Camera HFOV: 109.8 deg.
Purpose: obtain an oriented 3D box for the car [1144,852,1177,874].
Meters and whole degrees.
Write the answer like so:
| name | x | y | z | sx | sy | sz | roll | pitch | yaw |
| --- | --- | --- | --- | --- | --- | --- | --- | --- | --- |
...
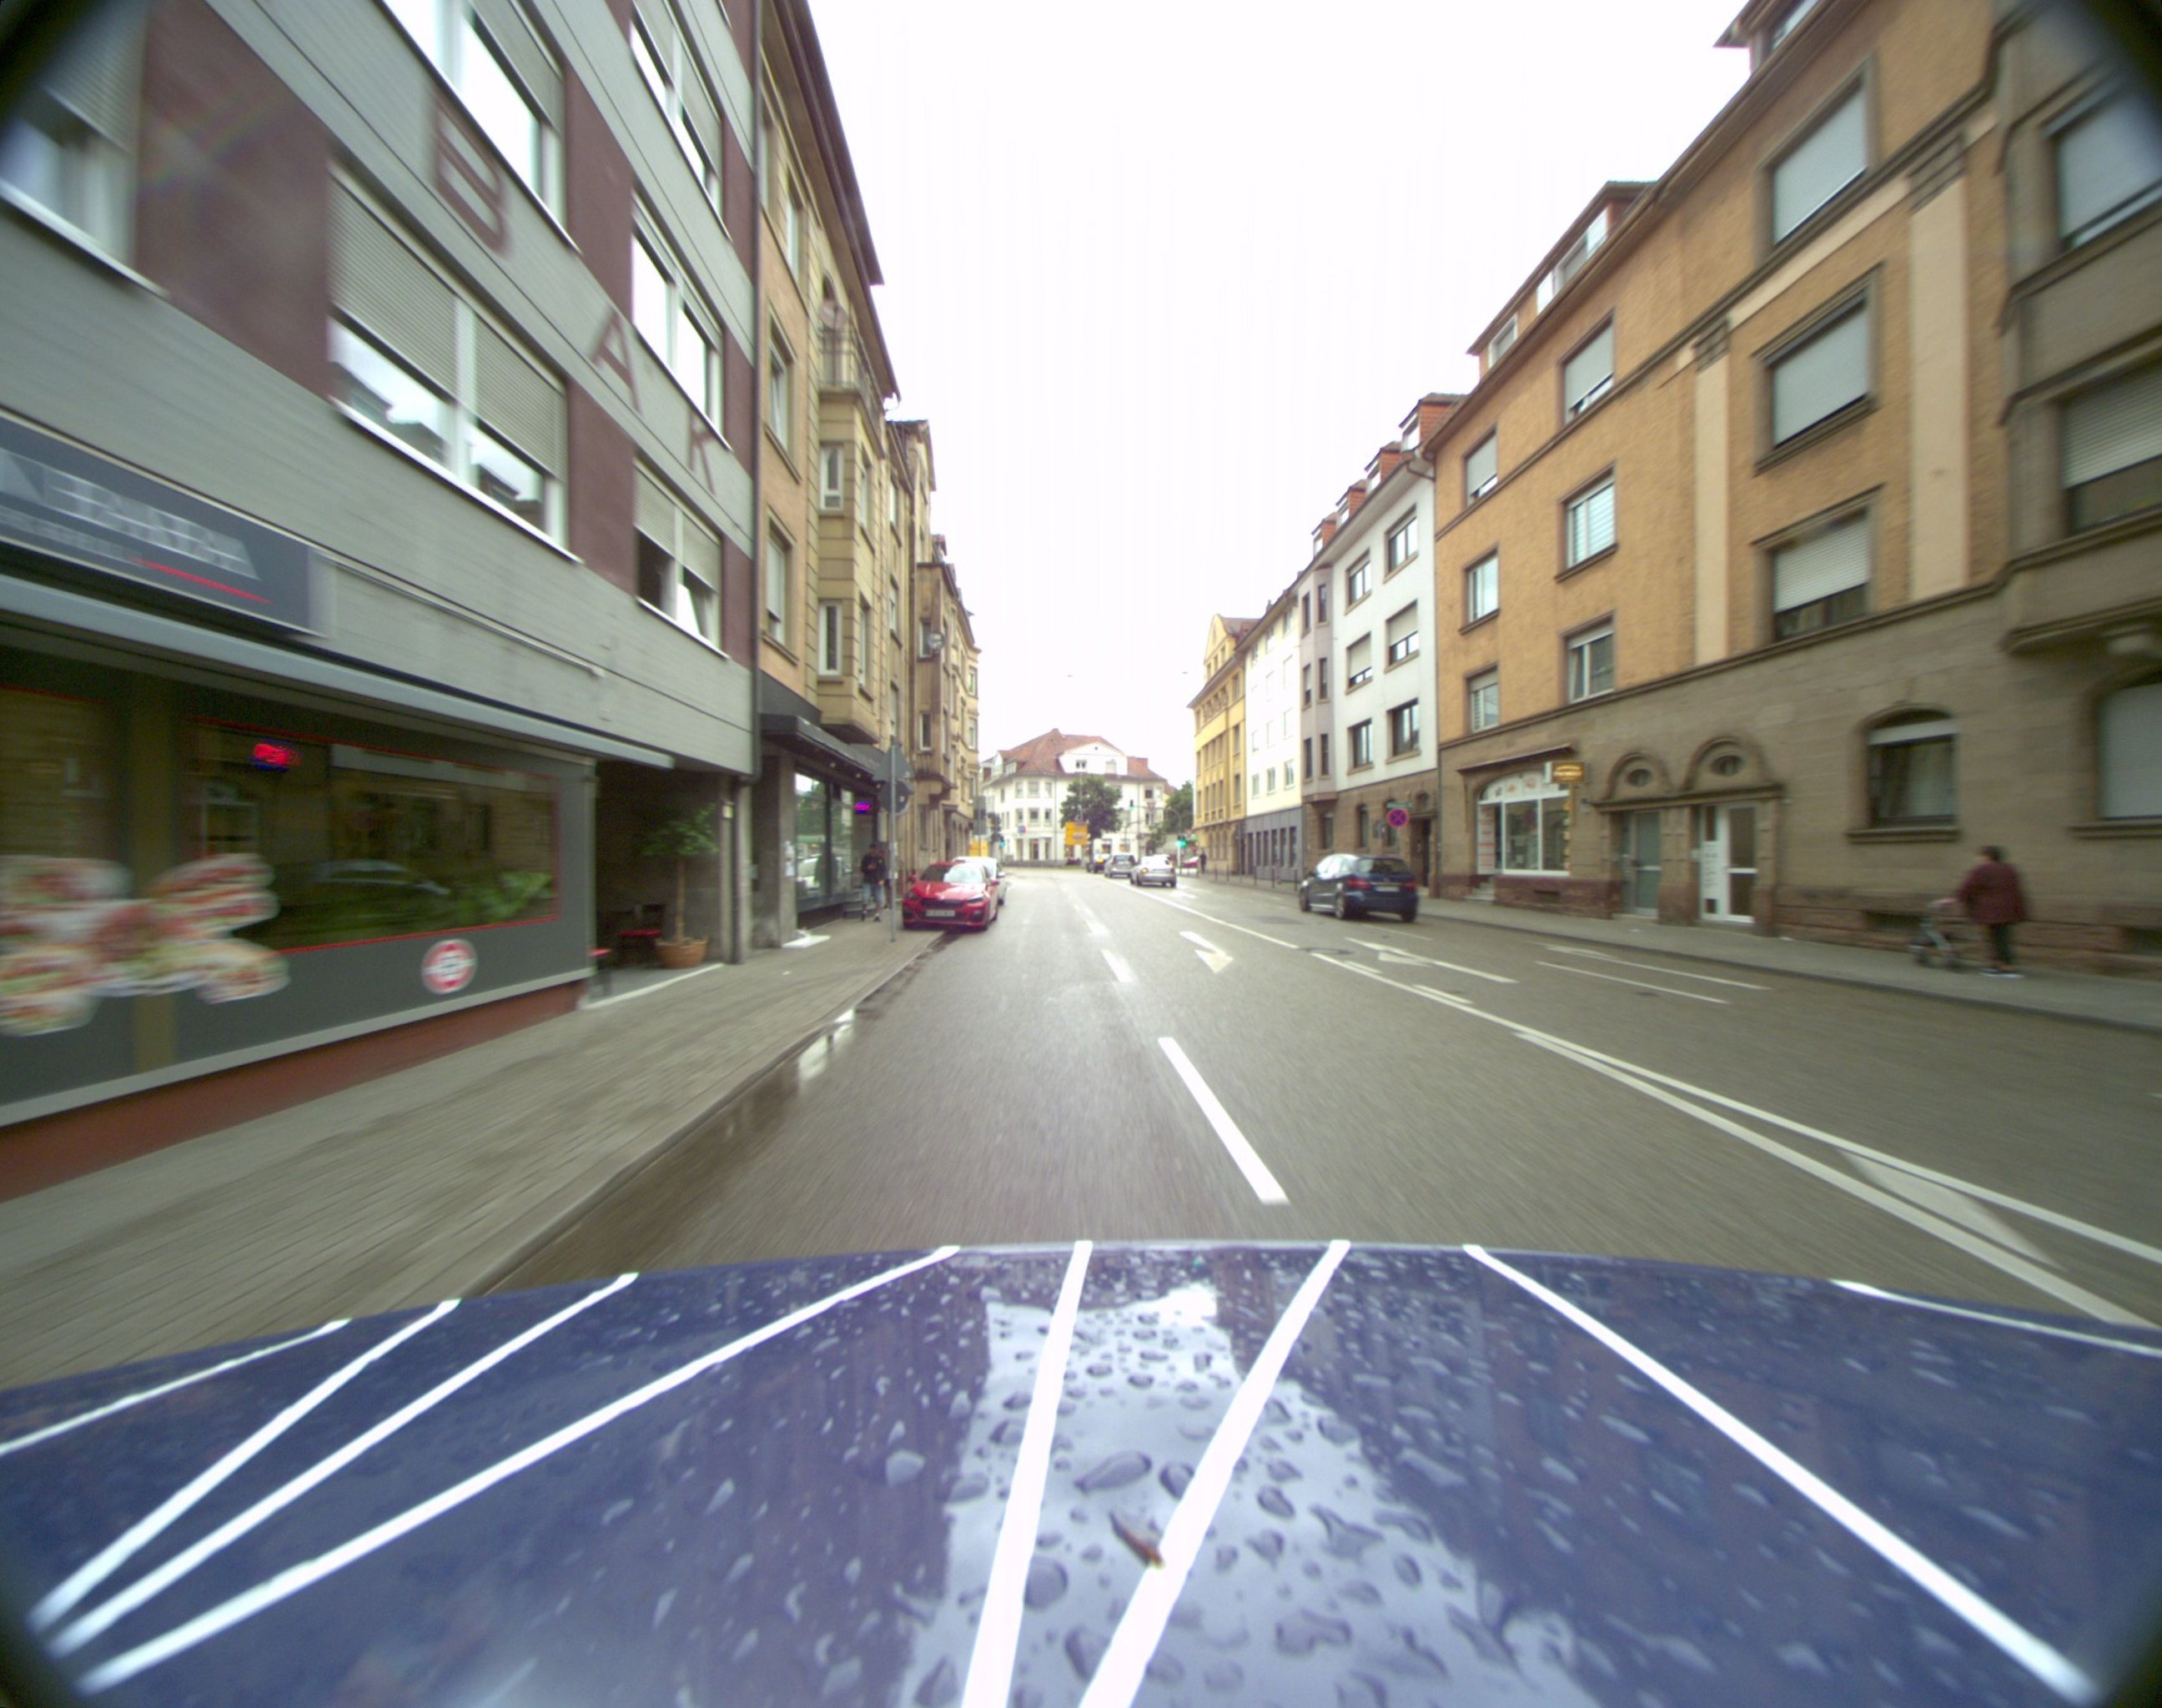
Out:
| name | x | y | z | sx | sy | sz | roll | pitch | yaw |
| --- | --- | --- | --- | --- | --- | --- | --- | --- | --- |
| car | 5.933 | 0.644 | 57.268 | 1.986 | 1.586 | 4.337 | 0 | 1 | 0 |

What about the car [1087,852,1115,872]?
| name | x | y | z | sx | sy | sz | roll | pitch | yaw |
| --- | --- | --- | --- | --- | --- | --- | --- | --- | --- |
| car | 1.604 | 0.606 | 63.091 | 1.948 | 1.574 | 4.603 | 0 | 1 | -3 |

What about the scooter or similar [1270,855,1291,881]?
| name | x | y | z | sx | sy | sz | roll | pitch | yaw |
| --- | --- | --- | --- | --- | --- | --- | --- | --- | --- |
| scooter or similar | 9.843 | 0.699 | 37.539 | 0.462 | 1.207 | 1.578 | -4 | 1 | -4 |

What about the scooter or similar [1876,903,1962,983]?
| name | x | y | z | sx | sy | sz | roll | pitch | yaw |
| --- | --- | --- | --- | --- | --- | --- | --- | --- | --- |
| scooter or similar | 10.832 | 1.133 | 9.824 | 0.714 | 0.920 | 0.479 | -3 | 2 | -15 |

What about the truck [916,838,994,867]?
| name | x | y | z | sx | sy | sz | roll | pitch | yaw |
| --- | --- | --- | --- | --- | --- | --- | --- | --- | --- |
| truck | -12.073 | -0.192 | 72.856 | 7.014 | 2.735 | 2.236 | 0 | 1 | 8 |

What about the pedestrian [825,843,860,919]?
| name | x | y | z | sx | sy | sz | roll | pitch | yaw |
| --- | --- | --- | --- | --- | --- | --- | --- | --- | --- |
| pedestrian | -5.988 | 0.670 | 19.094 | 0.705 | 1.883 | 0.649 | 0 | 1 | -5 |

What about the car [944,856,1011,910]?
| name | x | y | z | sx | sy | sz | roll | pitch | yaw |
| --- | --- | --- | --- | --- | --- | --- | --- | --- | --- |
| car | -3.193 | 0.849 | 24.156 | 1.652 | 1.485 | 4.446 | 0 | 1 | -2 |

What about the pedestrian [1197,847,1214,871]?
| name | x | y | z | sx | sy | sz | roll | pitch | yaw |
| --- | --- | --- | --- | --- | --- | --- | --- | --- | --- |
| pedestrian | 9.224 | 0.367 | 56.426 | 0.895 | 1.761 | 1.032 | -4 | 2 | -5 |

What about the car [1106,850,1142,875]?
| name | x | y | z | sx | sy | sz | roll | pitch | yaw |
| --- | --- | --- | --- | --- | --- | --- | --- | --- | --- |
| car | 2.831 | 0.512 | 51.039 | 1.948 | 1.574 | 4.519 | 0 | 1 | -3 |

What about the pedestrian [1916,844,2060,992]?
| name | x | y | z | sx | sy | sz | roll | pitch | yaw |
| --- | --- | --- | --- | --- | --- | --- | --- | --- | --- |
| pedestrian | 10.971 | 0.729 | 9.215 | 0.845 | 1.669 | 0.852 | -3 | 2 | -15 |

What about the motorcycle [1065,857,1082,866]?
| name | x | y | z | sx | sy | sz | roll | pitch | yaw |
| --- | --- | --- | --- | --- | --- | --- | --- | --- | --- |
| motorcycle | -0.913 | 0.928 | 92.805 | 2.015 | 1.142 | 0.718 | 0 | 1 | -21 |

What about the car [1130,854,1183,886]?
| name | x | y | z | sx | sy | sz | roll | pitch | yaw |
| --- | --- | --- | --- | --- | --- | --- | --- | --- | --- |
| car | 3.706 | 0.735 | 37.975 | 1.948 | 1.462 | 4.557 | 0 | 1 | -3 |

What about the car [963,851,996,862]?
| name | x | y | z | sx | sy | sz | roll | pitch | yaw |
| --- | --- | --- | --- | --- | --- | --- | --- | --- | --- |
| car | -13.786 | 0.295 | 102.791 | 4.005 | 1.499 | 1.996 | 0 | 1 | -24 |

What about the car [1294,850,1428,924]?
| name | x | y | z | sx | sy | sz | roll | pitch | yaw |
| --- | --- | --- | --- | --- | --- | --- | --- | --- | --- |
| car | 6.895 | 0.724 | 19.236 | 1.759 | 1.642 | 4.306 | 0 | 1 | 0 |

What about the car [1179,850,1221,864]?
| name | x | y | z | sx | sy | sz | roll | pitch | yaw |
| --- | --- | --- | --- | --- | --- | --- | --- | --- | --- |
| car | 13.092 | 0.359 | 83.622 | 4.043 | 1.509 | 2.020 | 0 | 1 | -21 |

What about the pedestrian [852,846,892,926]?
| name | x | y | z | sx | sy | sz | roll | pitch | yaw |
| --- | --- | --- | --- | --- | --- | --- | --- | --- | --- |
| pedestrian | -4.716 | 0.702 | 17.212 | 0.746 | 1.769 | 0.795 | 0 | 1 | -5 |

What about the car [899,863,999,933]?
| name | x | y | z | sx | sy | sz | roll | pitch | yaw |
| --- | --- | --- | --- | --- | --- | --- | --- | --- | --- |
| car | -2.850 | 0.895 | 17.277 | 1.749 | 1.361 | 4.313 | 0 | 0 | -3 |
